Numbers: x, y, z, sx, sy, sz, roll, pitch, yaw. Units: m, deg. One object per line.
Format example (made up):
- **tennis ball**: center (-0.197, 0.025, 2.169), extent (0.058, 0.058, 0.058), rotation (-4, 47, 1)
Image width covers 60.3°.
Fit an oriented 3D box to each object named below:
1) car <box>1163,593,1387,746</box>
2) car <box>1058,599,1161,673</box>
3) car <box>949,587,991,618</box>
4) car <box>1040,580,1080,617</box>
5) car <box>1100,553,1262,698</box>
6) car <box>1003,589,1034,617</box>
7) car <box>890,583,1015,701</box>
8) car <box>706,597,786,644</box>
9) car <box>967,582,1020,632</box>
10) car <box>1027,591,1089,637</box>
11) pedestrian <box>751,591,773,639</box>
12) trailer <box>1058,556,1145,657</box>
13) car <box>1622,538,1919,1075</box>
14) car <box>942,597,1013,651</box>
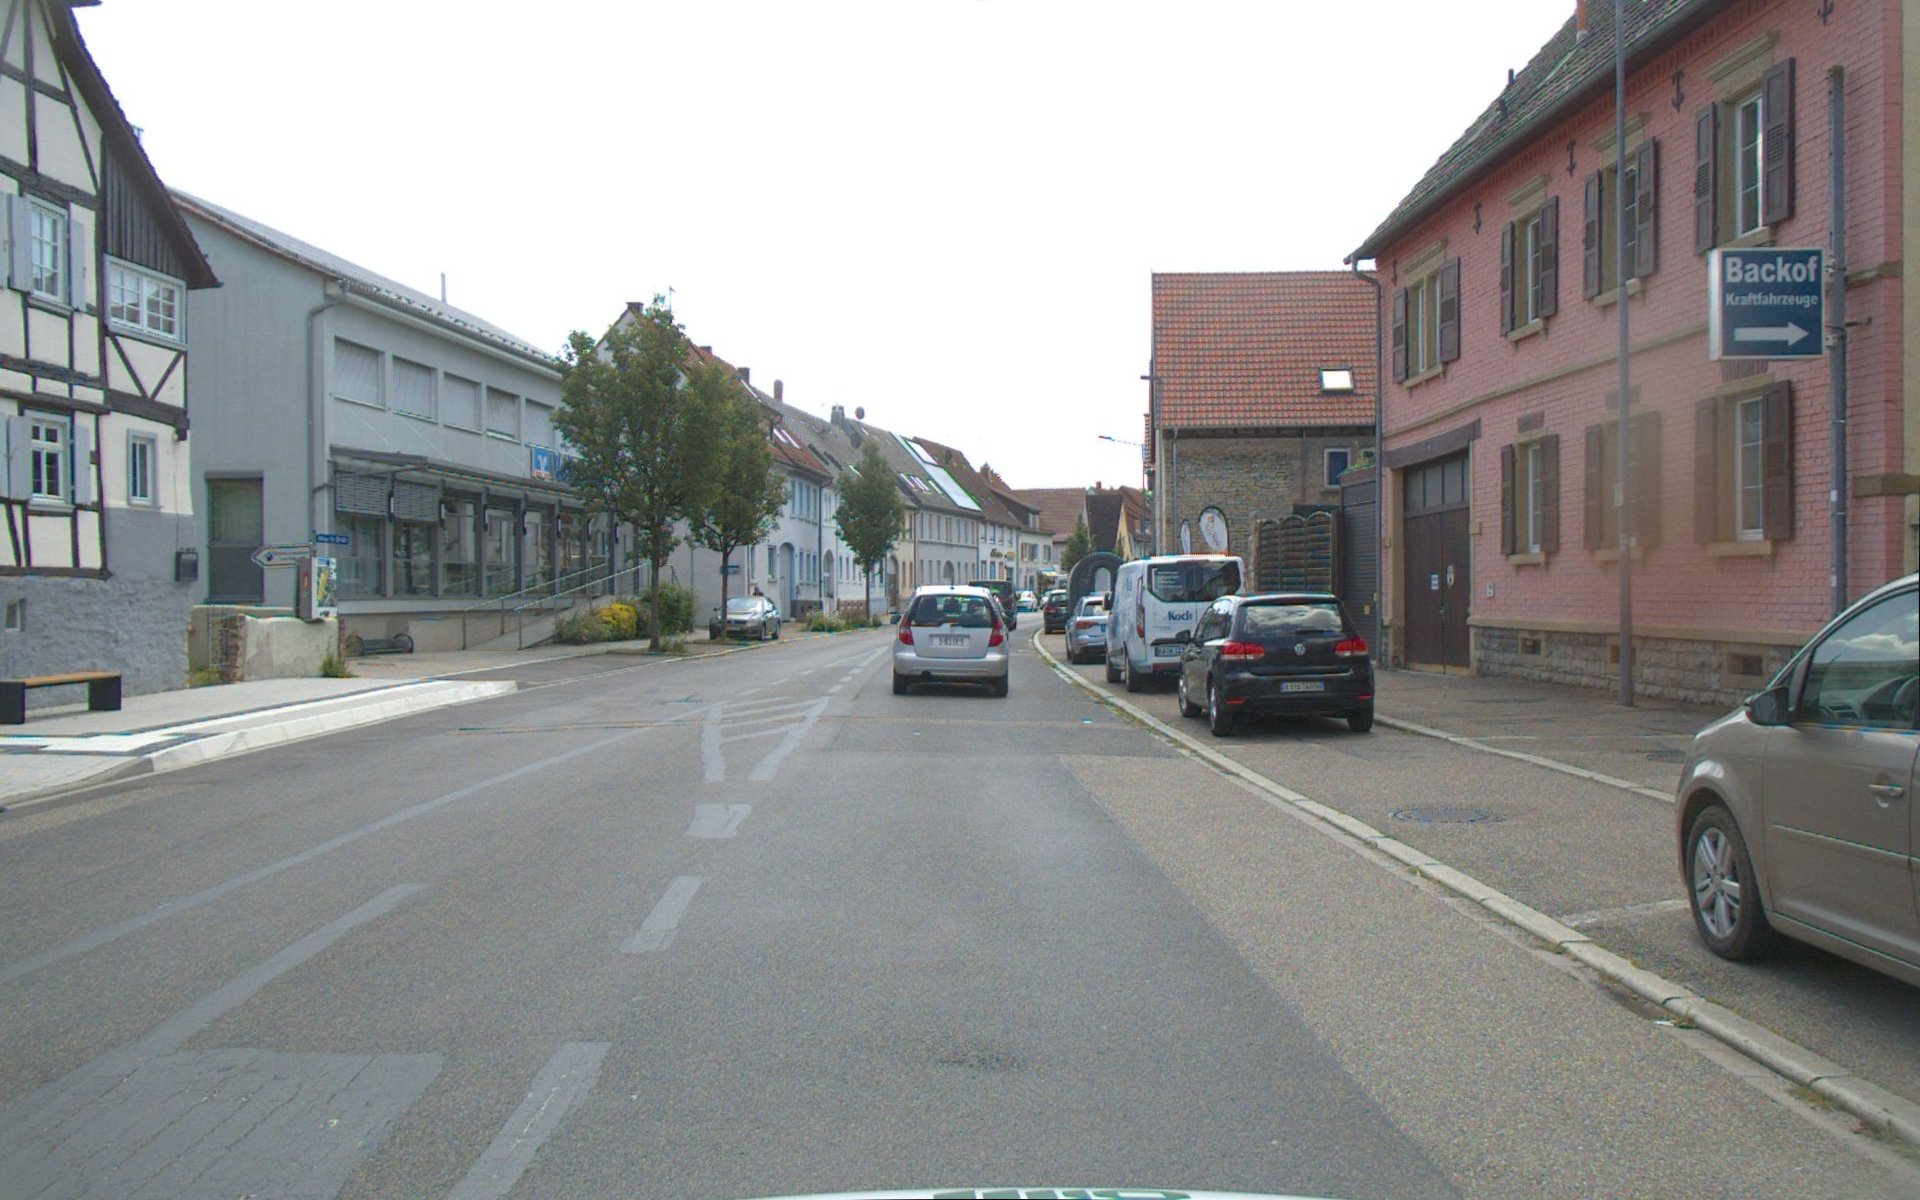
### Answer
- **car**: center (3.438, 0.700, 18.786), extent (1.738, 1.521, 4.161), rotation (-1, 0, 0)
- **car**: center (3.216, 0.747, 36.445), extent (1.837, 1.507, 4.674), rotation (0, 0, 0)
- **car**: center (0.638, 0.143, 104.215), extent (2.047, 1.917, 4.003), rotation (0, 0, 9)
- **car**: center (6.385, -0.095, 105.058), extent (2.188, 2.261, 4.003), rotation (-1, -1, 8)
- **car**: center (3.421, 0.373, 26.530), extent (1.853, 2.016, 4.930), rotation (-3, 0, 0)
- **car**: center (4.392, 0.238, 123.034), extent (1.951, 2.049, 4.003), rotation (-1, -1, 6)
- **car**: center (-0.142, 0.616, 25.765), extent (1.733, 1.622, 3.999), rotation (2, 0, -1)
- **car**: center (-6.961, 0.639, 54.194), extent (1.766, 1.486, 4.160), rotation (0, 0, 5)
- **car**: center (1.398, 0.307, 67.482), extent (1.731, 1.921, 4.450), rotation (2, -1, 6)
- **car**: center (3.618, 0.484, 60.442), extent (1.951, 1.586, 4.003), rotation (-2, 0, 7)
- **pedestrian**: center (-7.537, 0.571, 62.995), extent (0.723, 1.833, 0.642), rotation (-1, -1, 1)
- **trailer**: center (3.493, 0.143, 41.450), extent (1.807, 2.395, 3.589), rotation (-1, 0, -1)
- **car**: center (4.023, 0.645, 5.433), extent (1.953, 1.710, 4.323), rotation (-1, 0, 0)
- **car**: center (0.468, 0.677, 48.106), extent (1.905, 1.432, 3.999), rotation (2, 0, -1)
